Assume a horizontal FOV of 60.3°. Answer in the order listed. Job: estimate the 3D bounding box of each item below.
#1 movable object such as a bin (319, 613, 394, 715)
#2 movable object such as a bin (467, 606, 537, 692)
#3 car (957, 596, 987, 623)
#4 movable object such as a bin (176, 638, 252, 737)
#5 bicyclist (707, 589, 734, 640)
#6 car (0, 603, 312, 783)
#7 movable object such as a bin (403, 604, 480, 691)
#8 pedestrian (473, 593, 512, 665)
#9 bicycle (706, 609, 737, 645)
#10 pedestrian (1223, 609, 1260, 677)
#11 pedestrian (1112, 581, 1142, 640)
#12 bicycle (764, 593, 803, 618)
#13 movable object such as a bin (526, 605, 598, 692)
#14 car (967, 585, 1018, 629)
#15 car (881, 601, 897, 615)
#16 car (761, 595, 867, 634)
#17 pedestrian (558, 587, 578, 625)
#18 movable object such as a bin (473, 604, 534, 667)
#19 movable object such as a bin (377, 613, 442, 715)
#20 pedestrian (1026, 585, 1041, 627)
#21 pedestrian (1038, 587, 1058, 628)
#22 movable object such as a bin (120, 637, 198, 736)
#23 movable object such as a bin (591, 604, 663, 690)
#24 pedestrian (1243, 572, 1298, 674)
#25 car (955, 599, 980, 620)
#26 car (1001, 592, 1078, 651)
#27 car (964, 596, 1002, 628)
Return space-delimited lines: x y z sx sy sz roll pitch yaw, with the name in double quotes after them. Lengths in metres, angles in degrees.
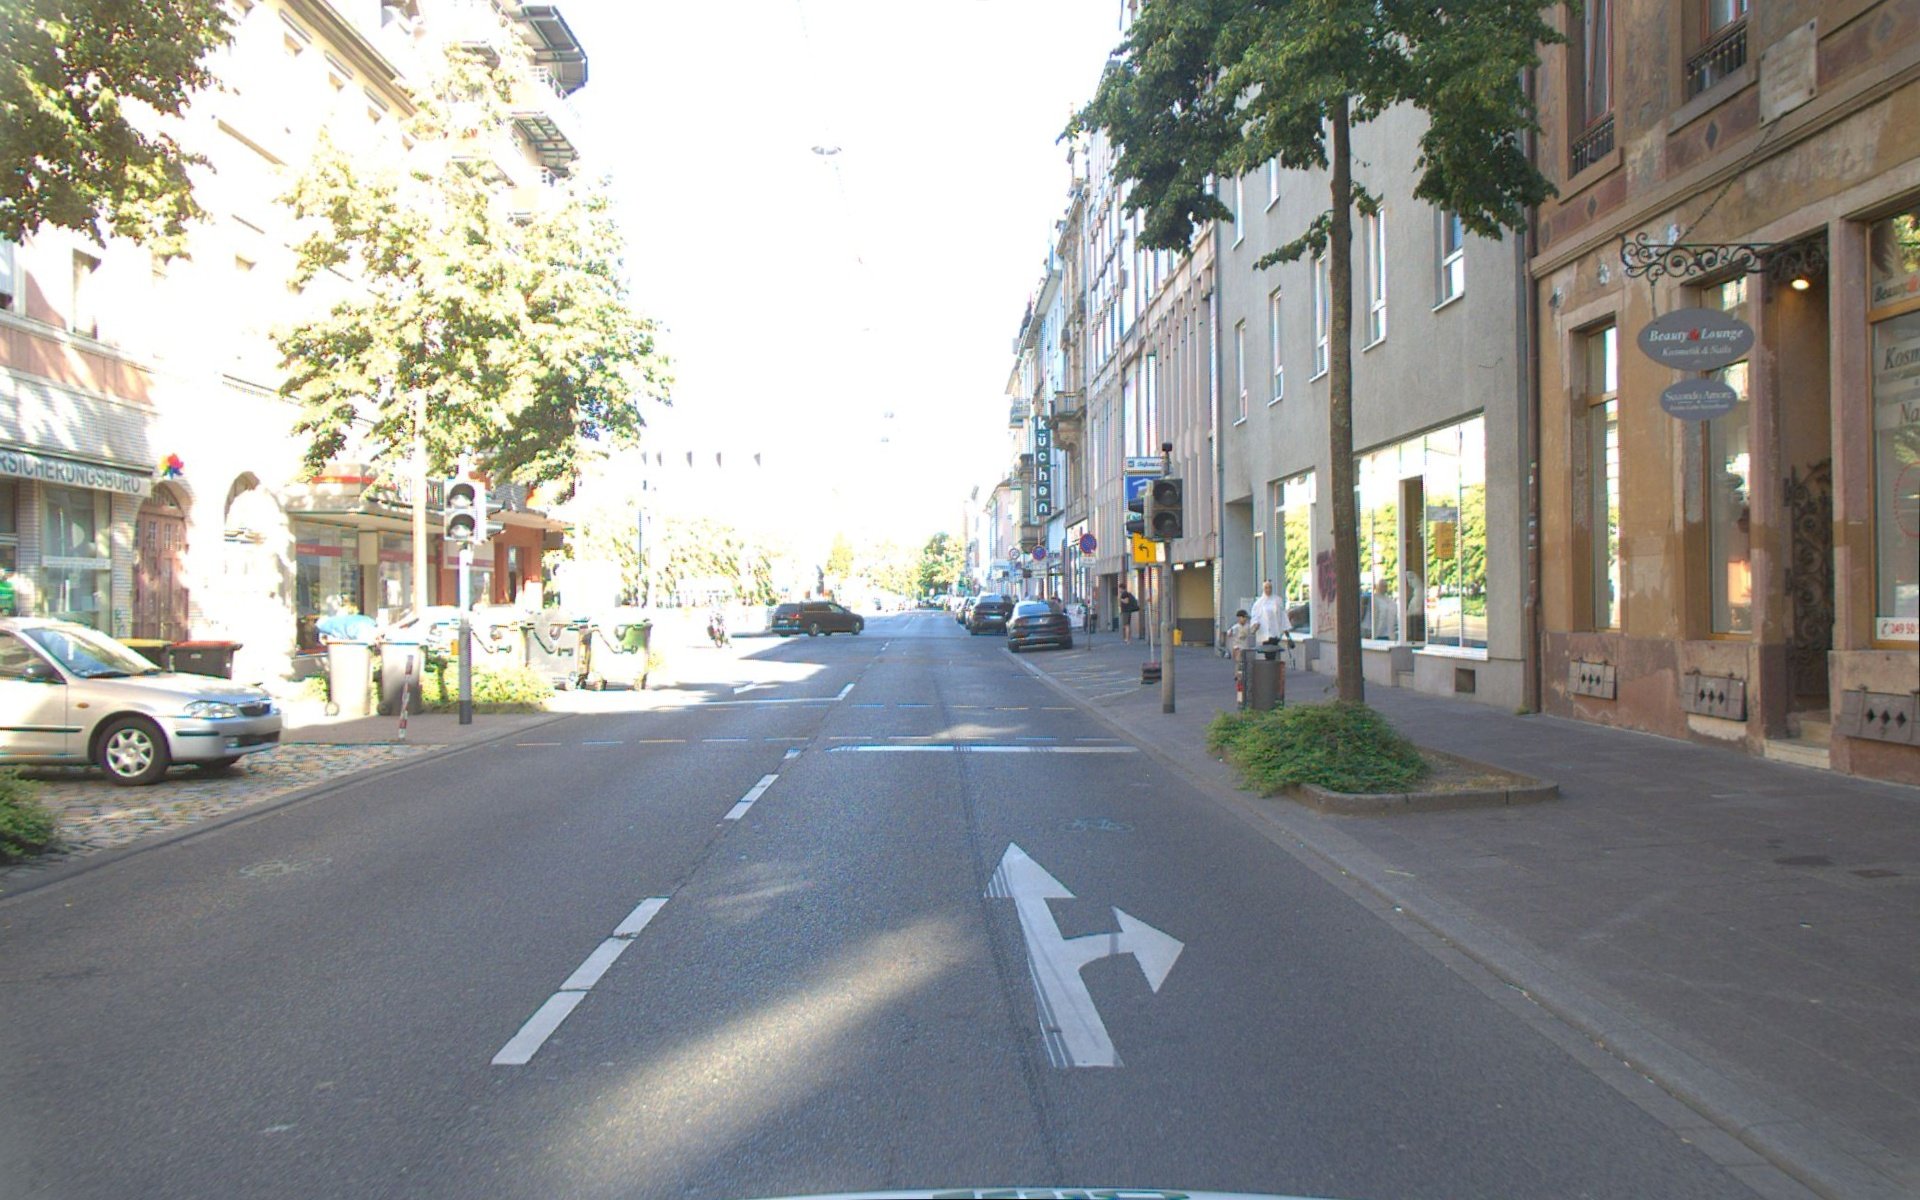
-8.307 0.866 22.787 0.739 1.364 0.805 -1 0 -2 "movable object such as a bin"
-8.184 0.859 29.593 0.944 1.497 1.143 -1 0 -2 "movable object such as a bin"
0.734 0.598 104.816 1.682 1.664 4.082 1 -1 -3 "car"
-8.628 1.000 19.158 0.520 1.088 0.805 -1 0 -2 "movable object such as a bin"
-8.054 0.490 55.616 0.682 1.682 1.036 -1 0 1 "bicyclist"
-8.184 0.783 14.742 4.116 1.494 1.740 0 0 1 "car"
-9.255 0.840 29.559 1.021 1.497 1.143 -1 0 -2 "movable object such as a bin"
-11.215 0.679 39.702 0.651 1.688 1.036 -1 0 -2 "pedestrian"
-8.049 0.910 55.781 0.691 1.166 1.968 -1 0 1 "bicycle"
4.523 0.680 26.630 0.385 1.051 0.739 -4 0 -2 "pedestrian"
4.821 0.301 47.880 0.678 1.664 0.889 -3 0 -2 "pedestrian"
-14.205 0.453 133.154 3.054 2.049 0.909 0 0 8 "bicycle"
-7.096 0.854 29.555 1.021 1.497 1.143 -1 0 -2 "movable object such as a bin"
1.306 0.270 68.528 1.933 1.755 4.823 1 0 -1 "car"
-9.436 1.083 219.820 1.952 1.803 4.000 0 1 0 "car"
-5.947 0.566 67.689 1.905 1.513 4.249 0 0 39 "car"
-22.522 0.342 95.003 0.717 2.145 0.967 0 0 21 "pedestrian"
-10.225 0.782 37.121 1.021 1.369 1.313 -1 0 -2 "movable object such as a bin"
-7.593 0.871 22.826 0.621 1.364 0.805 -1 0 -2 "movable object such as a bin"
3.146 0.271 70.937 0.607 1.797 0.518 -1 0 1 "pedestrian"
3.767 0.326 70.923 0.784 1.704 0.589 -2 0 1 "pedestrian"
-9.241 0.986 19.103 0.520 1.088 0.805 -1 0 -2 "movable object such as a bin"
-5.978 0.828 29.774 1.021 1.497 1.452 -1 0 -2 "movable object such as a bin"
5.056 0.366 26.981 0.569 1.586 1.020 -4 0 -2 "pedestrian"
0.550 0.680 122.056 1.756 1.485 3.867 1 -1 -1 "car"
2.297 0.587 49.070 1.879 1.504 4.963 -5 0 -1 "car"
1.171 0.608 85.947 1.802 1.573 4.227 1 0 -2 "car"
